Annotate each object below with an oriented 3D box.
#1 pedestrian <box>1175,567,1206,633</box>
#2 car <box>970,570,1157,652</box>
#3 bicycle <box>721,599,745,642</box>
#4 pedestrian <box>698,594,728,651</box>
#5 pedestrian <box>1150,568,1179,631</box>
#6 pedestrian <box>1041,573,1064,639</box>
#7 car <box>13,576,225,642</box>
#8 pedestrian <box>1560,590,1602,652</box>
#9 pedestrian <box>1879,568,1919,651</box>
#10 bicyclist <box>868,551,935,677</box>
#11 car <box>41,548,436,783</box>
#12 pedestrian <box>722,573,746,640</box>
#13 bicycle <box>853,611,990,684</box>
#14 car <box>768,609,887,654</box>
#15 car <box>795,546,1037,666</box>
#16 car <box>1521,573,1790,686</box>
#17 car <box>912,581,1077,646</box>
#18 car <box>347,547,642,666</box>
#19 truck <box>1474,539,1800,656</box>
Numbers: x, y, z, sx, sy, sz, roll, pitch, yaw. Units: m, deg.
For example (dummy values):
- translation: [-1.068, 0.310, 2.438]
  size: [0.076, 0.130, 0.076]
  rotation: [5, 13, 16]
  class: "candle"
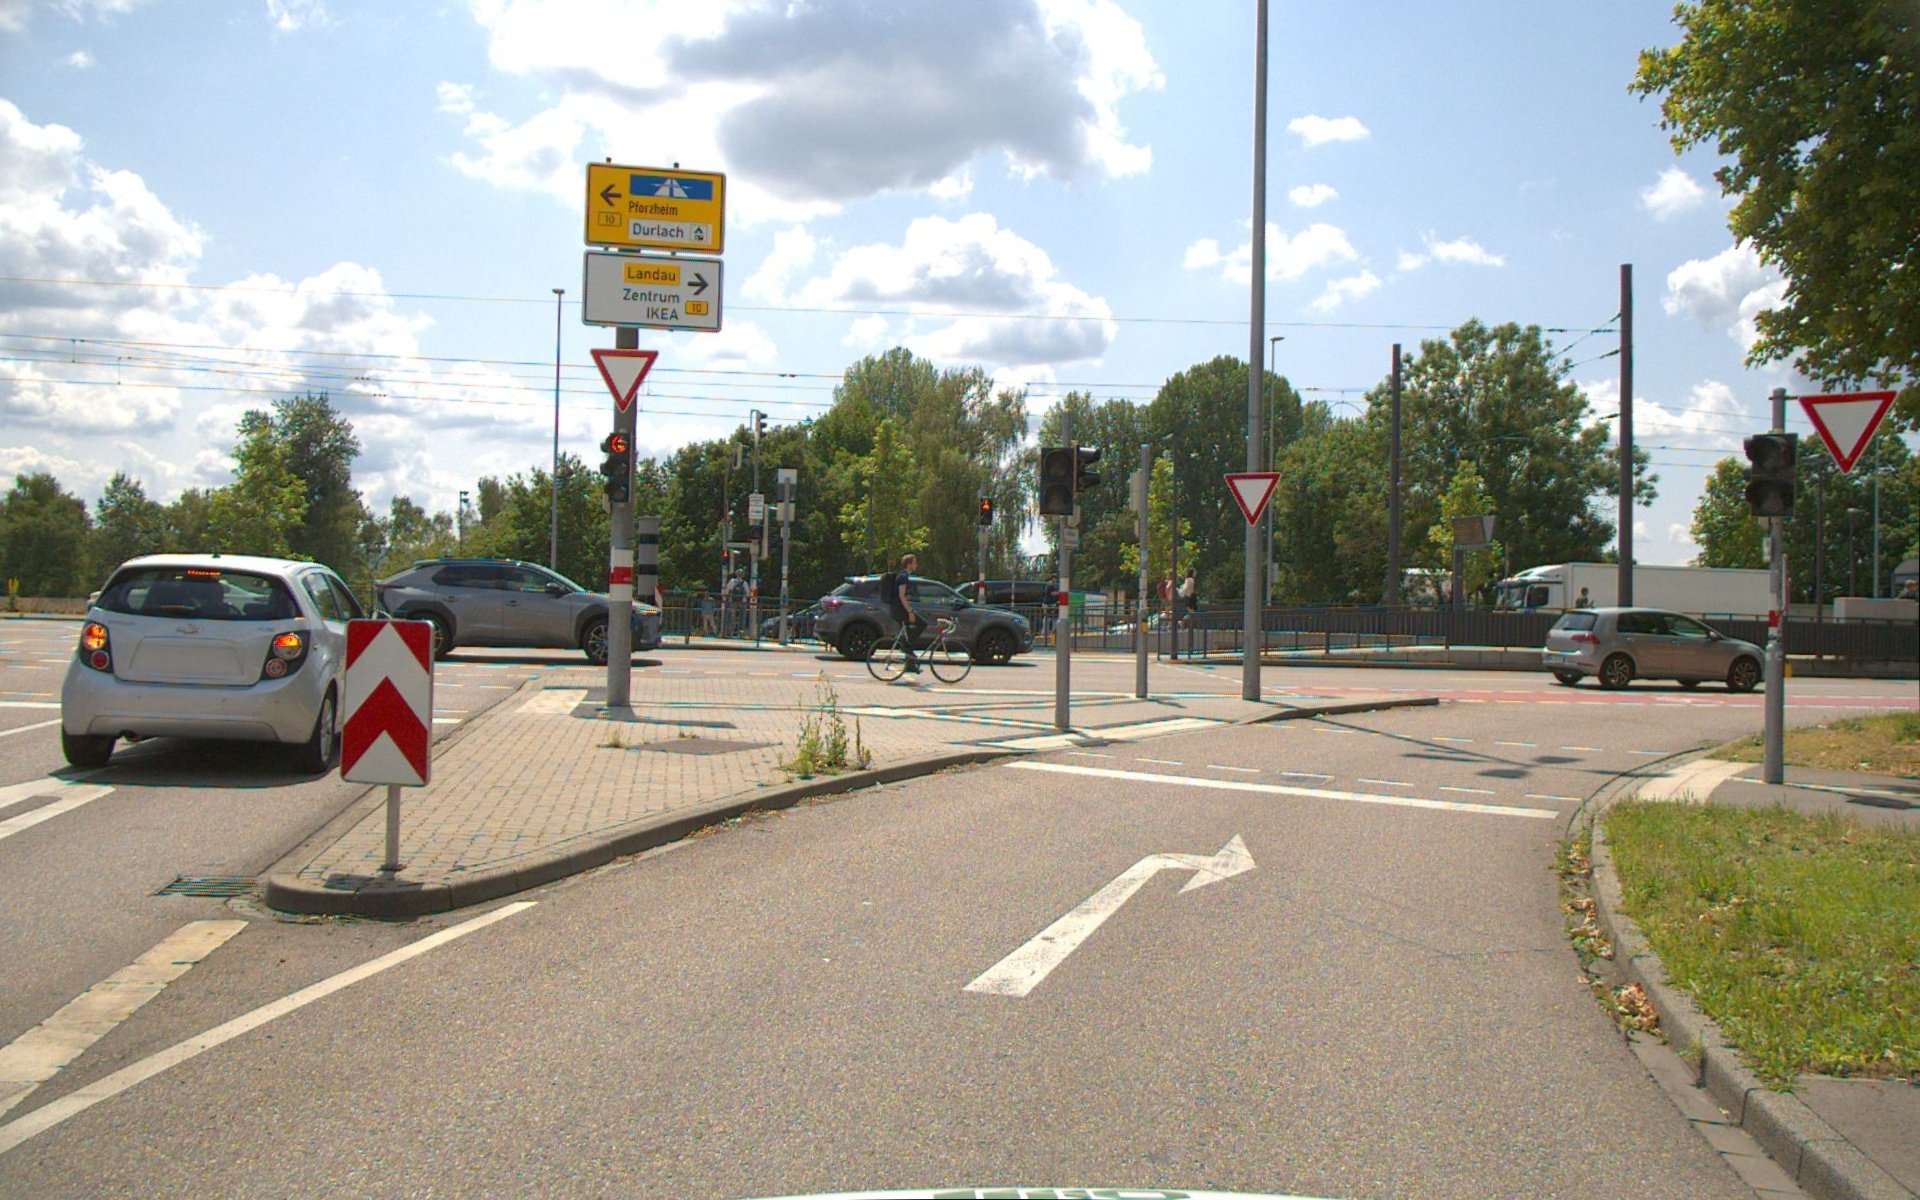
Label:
- translation: [6.319, -0.016, 45.431]
  size: [0.663, 1.778, 0.636]
  rotation: [1, 1, -8]
  class: "pedestrian"
- translation: [2.346, 0.241, 37.940]
  size: [3.916, 1.814, 1.904]
  rotation: [0, 0, -12]
  class: "car"
- translation: [-6.090, 0.537, 44.418]
  size: [0.607, 1.106, 1.719]
  rotation: [1, 0, -8]
  class: "bicycle"
- translation: [-9.050, 0.807, 60.582]
  size: [0.966, 2.049, 0.898]
  rotation: [0, 0, -18]
  class: "pedestrian"
- translation: [5.720, -0.020, 46.257]
  size: [0.692, 1.751, 0.600]
  rotation: [0, 0, -8]
  class: "pedestrian"
- translation: [2.497, 0.156, 44.767]
  size: [0.513, 1.751, 0.729]
  rotation: [0, 0, -6]
  class: "pedestrian"
- translation: [-24.113, 0.261, 47.614]
  size: [5.025, 1.839, 1.995]
  rotation: [1, 0, -11]
  class: "car"
- translation: [18.820, 0.632, 50.112]
  size: [0.910, 1.839, 0.734]
  rotation: [1, 0, -11]
  class: "pedestrian"
- translation: [22.905, 0.224, 39.889]
  size: [0.973, 1.973, 0.873]
  rotation: [0, 0, -11]
  class: "pedestrian"
- translation: [-0.894, 0.213, 25.196]
  size: [0.904, 1.878, 0.610]
  rotation: [1, 0, -11]
  class: "bicyclist"
- translation: [-5.402, 0.430, 12.948]
  size: [1.859, 1.495, 3.825]
  rotation: [3, 0, -9]
  class: "car"
- translation: [-6.076, 0.171, 44.385]
  size: [0.599, 1.800, 0.671]
  rotation: [1, 0, -8]
  class: "pedestrian"
- translation: [-0.592, 0.721, 25.259]
  size: [1.980, 1.016, 0.620]
  rotation: [3, 0, -11]
  class: "bicycle"
- translation: [-4.546, 1.067, 56.659]
  size: [3.819, 1.433, 1.662]
  rotation: [1, 0, -18]
  class: "car"
- translation: [-0.868, 0.121, 31.261]
  size: [4.270, 2.024, 1.995]
  rotation: [2, 0, -11]
  class: "car"
- translation: [12.967, 0.543, 30.947]
  size: [4.270, 2.024, 1.995]
  rotation: [1, 0, -11]
  class: "car"
- translation: [0.991, 0.398, 48.899]
  size: [4.567, 1.852, 1.995]
  rotation: [1, 0, -11]
  class: "car"
- translation: [-7.511, 0.117, 27.117]
  size: [4.423, 1.704, 1.899]
  rotation: [2, 0, -11]
  class: "car"
- translation: [26.066, -0.068, 63.844]
  size: [11.733, 4.176, 2.947]
  rotation: [1, 0, -8]
  class: "truck"
